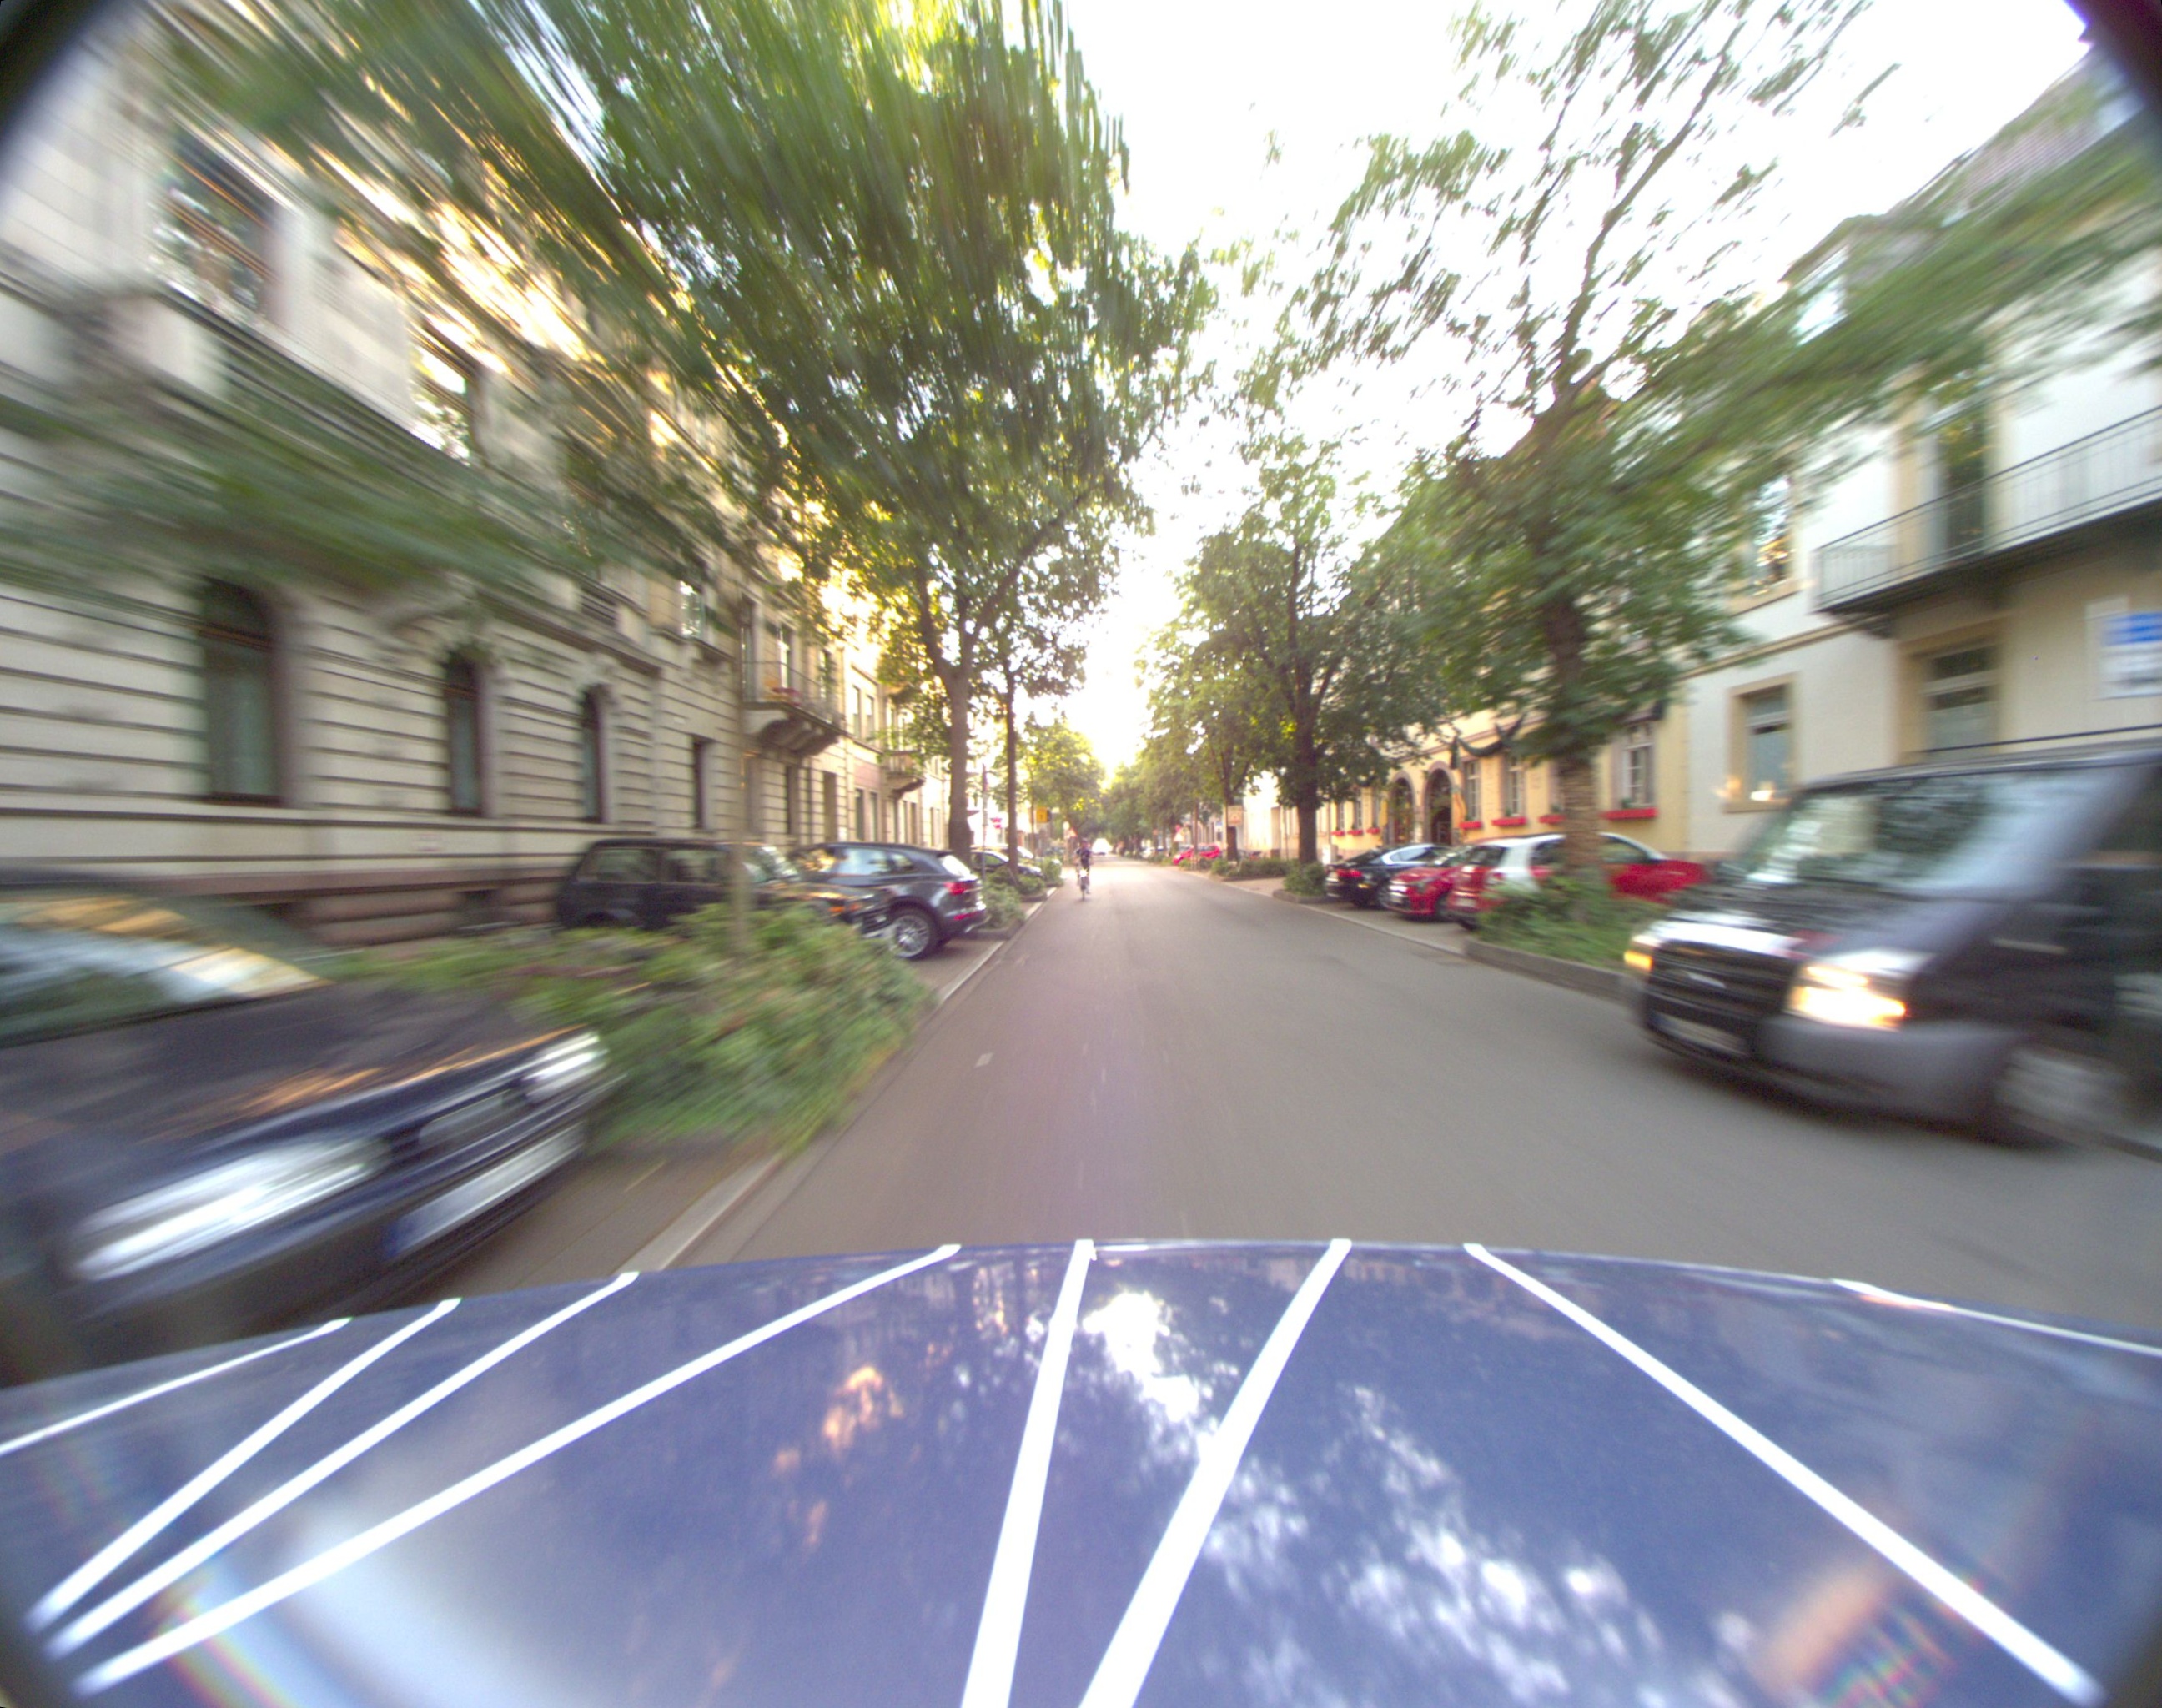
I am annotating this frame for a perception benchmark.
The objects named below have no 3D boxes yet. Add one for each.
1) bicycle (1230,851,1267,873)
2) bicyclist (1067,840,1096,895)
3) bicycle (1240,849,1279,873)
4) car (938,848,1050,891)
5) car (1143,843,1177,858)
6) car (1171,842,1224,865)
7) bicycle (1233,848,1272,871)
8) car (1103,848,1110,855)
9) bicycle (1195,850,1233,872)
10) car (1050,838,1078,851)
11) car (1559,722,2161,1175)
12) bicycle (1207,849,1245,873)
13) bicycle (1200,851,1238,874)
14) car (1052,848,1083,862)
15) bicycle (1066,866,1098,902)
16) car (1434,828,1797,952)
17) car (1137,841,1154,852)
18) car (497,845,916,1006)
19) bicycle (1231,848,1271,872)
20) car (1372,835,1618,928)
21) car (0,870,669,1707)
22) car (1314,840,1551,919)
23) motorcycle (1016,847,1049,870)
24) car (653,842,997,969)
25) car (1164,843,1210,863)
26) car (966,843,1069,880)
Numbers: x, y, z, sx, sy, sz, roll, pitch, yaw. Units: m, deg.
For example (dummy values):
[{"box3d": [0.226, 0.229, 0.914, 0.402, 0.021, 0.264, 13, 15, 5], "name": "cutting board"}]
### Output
[{"box3d": [9.002, 0.431, 40.906, 1.869, 1.093, 0.480, -3, 2, -5], "name": "bicycle"}, {"box3d": [0.027, 0.394, 22.917, 0.753, 1.612, 1.147, -2, 1, 4], "name": "bicyclist"}, {"box3d": [8.620, 0.328, 36.665, 1.711, 1.093, 0.480, -3, 2, -5], "name": "bicycle"}, {"box3d": [-3.152, 0.560, 28.129, 3.875, 1.419, 1.781, 2, 0, 0], "name": "car"}, {"box3d": [8.569, -0.352, 82.660, 3.551, 1.411, 1.590, -4, 1, 1], "name": "car"}, {"box3d": [8.479, -0.048, 55.499, 3.497, 1.397, 1.673, -4, 1, -1], "name": "car"}, {"box3d": [8.757, 0.284, 38.809, 1.869, 1.093, 0.509, -3, 2, -5], "name": "bicycle"}, {"box3d": [5.759, -0.636, 171.929, 1.672, 1.411, 3.555, -4, 0, 2], "name": "car"}, {"box3d": [7.098, 0.367, 40.572, 1.869, 1.092, 0.480, -3, 2, -5], "name": "bicycle"}, {"box3d": [-2.202, -1.218, 99.508, 3.551, 1.411, 1.590, -4, 1, 1], "name": "car"}, {"box3d": [5.989, 0.375, 4.428, 5.002, 1.979, 2.189, -1, 1, 1], "name": "car"}, {"box3d": [7.509, 0.374, 39.377, 1.869, 1.138, 0.480, -3, 2, -5], "name": "bicycle"}, {"box3d": [7.255, 0.424, 39.921, 1.869, 1.093, 0.480, -3, 2, -5], "name": "bicycle"}, {"box3d": [-1.653, 0.128, 91.314, 3.551, 1.411, 1.590, -4, 1, 1], "name": "car"}, {"box3d": [0.054, 0.877, 23.009, 0.778, 0.967, 2.025, -1, 1, 4], "name": "bicycle"}, {"box3d": [8.153, 0.500, 11.888, 4.365, 1.530, 1.771, -4, 2, 1], "name": "car"}, {"box3d": [8.845, -0.991, 104.112, 1.998, 1.368, 3.999, -2, 1, 1], "name": "car"}, {"box3d": [-4.161, 0.760, 8.923, 4.017, 1.677, 1.765, -1, 1, 1], "name": "car"}, {"box3d": [8.540, 0.296, 38.104, 1.869, 1.093, 0.480, -3, 2, -5], "name": "bicycle"}, {"box3d": [7.709, 0.487, 14.405, 3.693, 1.441, 1.659, -3, 1, 1], "name": "car"}, {"box3d": [-3.891, 0.833, 2.328, 4.234, 1.472, 1.854, 1, 1, 1], "name": "car"}, {"box3d": [7.665, 0.515, 16.832, 4.436, 1.399, 1.717, -3, 2, -2], "name": "car"}, {"box3d": [-3.479, 0.289, 54.544, 2.248, 1.537, 0.772, -3, 2, -14], "name": "motorcycle"}, {"box3d": [-3.618, 0.686, 11.386, 4.451, 1.708, 1.968, 0, 2, 1], "name": "car"}, {"box3d": [8.954, -0.092, 64.395, 3.552, 1.411, 1.590, -4, 1, -1], "name": "car"}, {"box3d": [-2.941, 0.336, 35.471, 4.420, 1.552, 1.867, 2, 0, 8], "name": "car"}]
